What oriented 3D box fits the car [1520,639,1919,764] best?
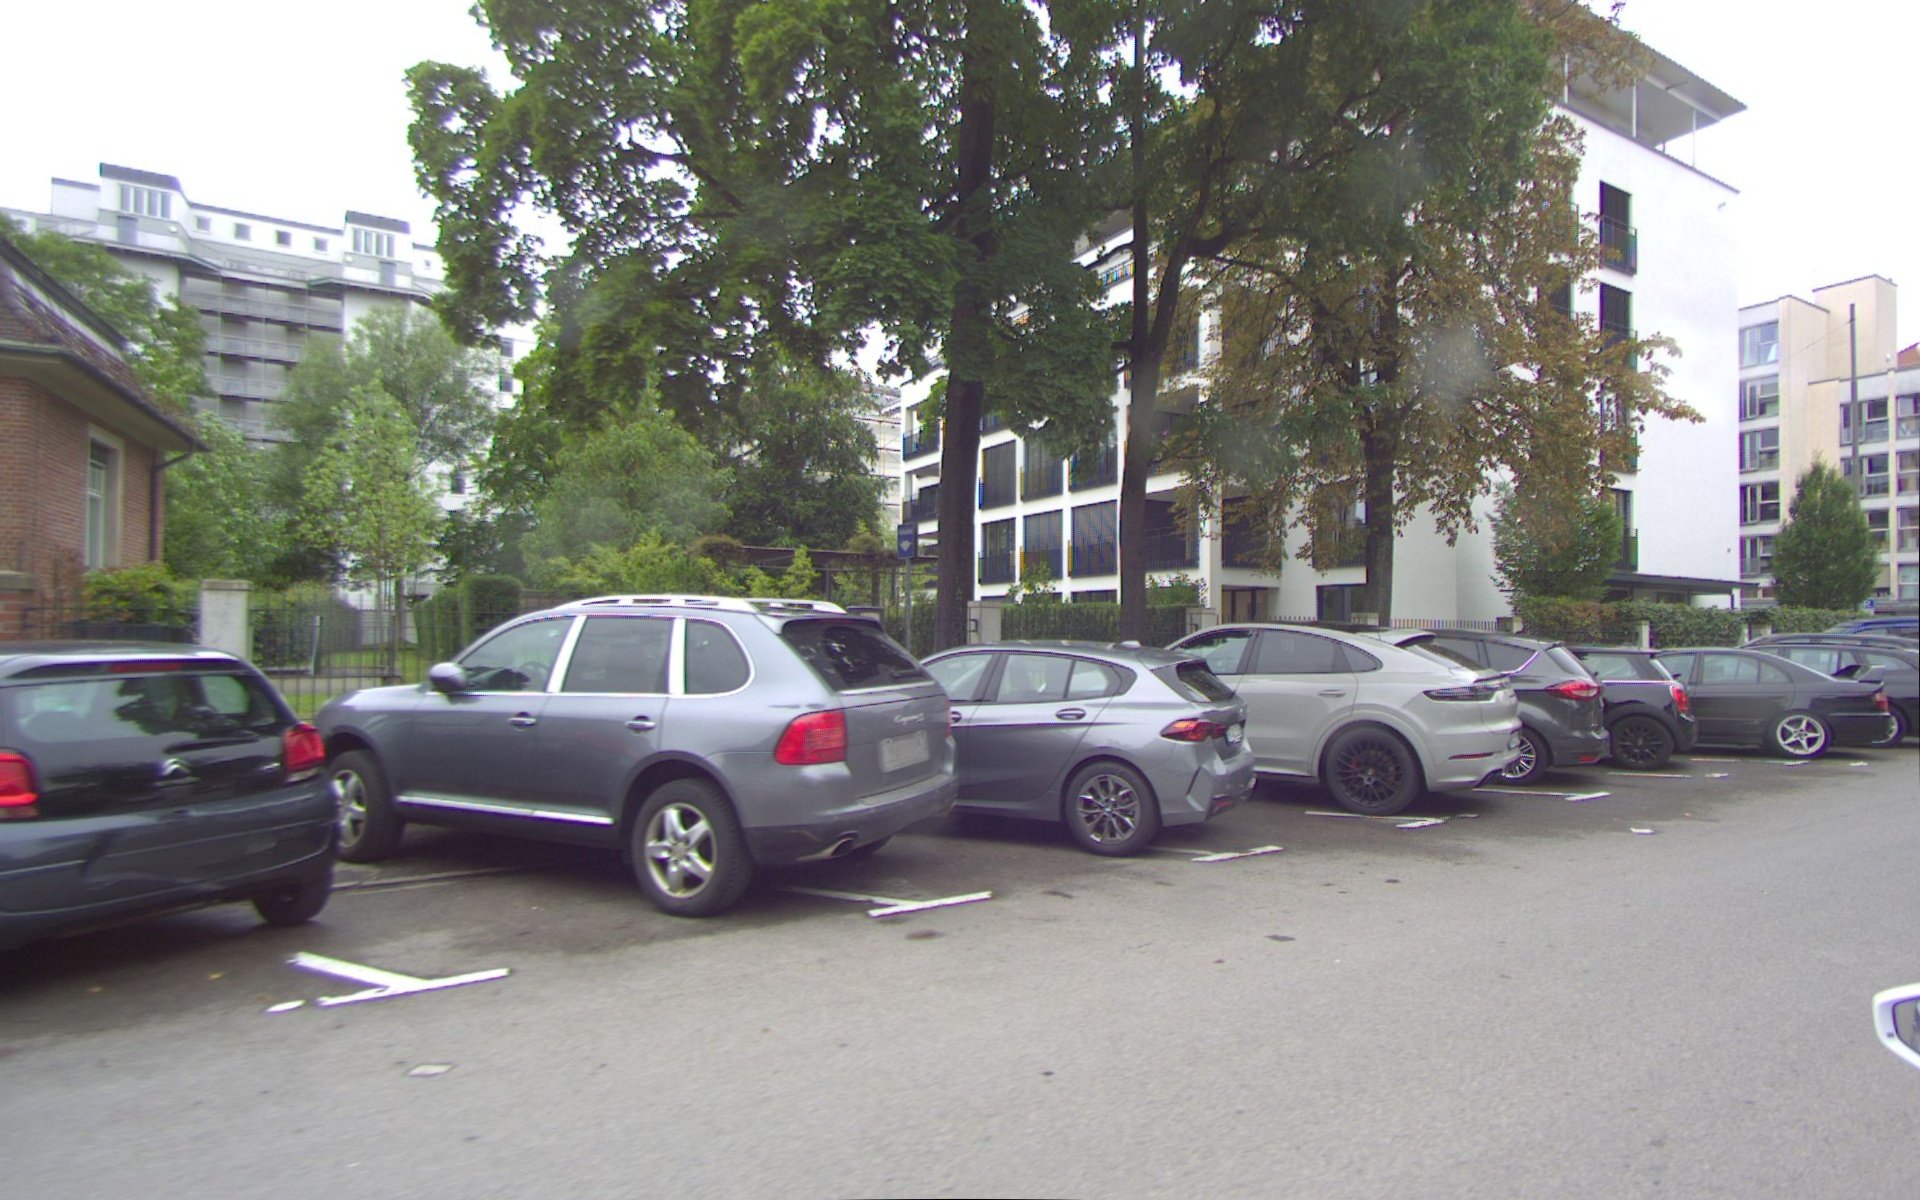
[{"bbox_3d":[10.059,1.311,13.715,4.141,1.480,1.735,-2,-3,28],"label":"car"}]

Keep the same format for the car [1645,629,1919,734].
[{"bbox_3d":[14.218,1.345,17.087,4.147,1.630,1.733,-3,-3,34],"label":"car"}]

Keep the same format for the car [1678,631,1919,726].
[{"bbox_3d":[15.928,1.420,18.538,4.143,1.630,1.734,-2,-3,30],"label":"car"}]

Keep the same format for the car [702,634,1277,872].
[{"bbox_3d":[0.220,1.050,8.324,4.331,1.510,2.015,-1,-3,27],"label":"car"}]

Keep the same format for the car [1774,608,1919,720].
[{"bbox_3d":[18.615,1.224,19.420,4.143,2.093,1.734,-2,-3,30],"label":"car"}]

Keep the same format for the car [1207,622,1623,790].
[{"bbox_3d":[5.214,1.103,11.708,4.148,1.619,1.881,-1,-3,35],"label":"car"}]

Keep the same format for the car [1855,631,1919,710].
[{"bbox_3d":[22.823,1.539,22.289,4.045,1.730,1.735,-2,-3,29],"label":"car"}]

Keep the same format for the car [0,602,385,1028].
[{"bbox_3d":[-5.412,0.886,5.382,4.330,1.651,1.964,-1,-2,27],"label":"car"}]

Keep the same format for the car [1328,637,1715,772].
[{"bbox_3d":[7.154,1.234,13.052,4.148,1.480,1.788,-1,-3,35],"label":"car"}]

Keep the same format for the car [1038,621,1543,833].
[{"bbox_3d":[3.158,1.069,9.990,4.343,1.642,2.078,-2,-3,38],"label":"car"}]

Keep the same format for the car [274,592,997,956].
[{"bbox_3d":[-2.162,0.895,6.705,4.330,1.721,2.135,-1,-2,27],"label":"car"}]

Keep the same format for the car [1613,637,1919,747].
[{"bbox_3d":[12.410,1.330,15.137,4.152,1.480,1.730,-3,-3,38],"label":"car"}]
